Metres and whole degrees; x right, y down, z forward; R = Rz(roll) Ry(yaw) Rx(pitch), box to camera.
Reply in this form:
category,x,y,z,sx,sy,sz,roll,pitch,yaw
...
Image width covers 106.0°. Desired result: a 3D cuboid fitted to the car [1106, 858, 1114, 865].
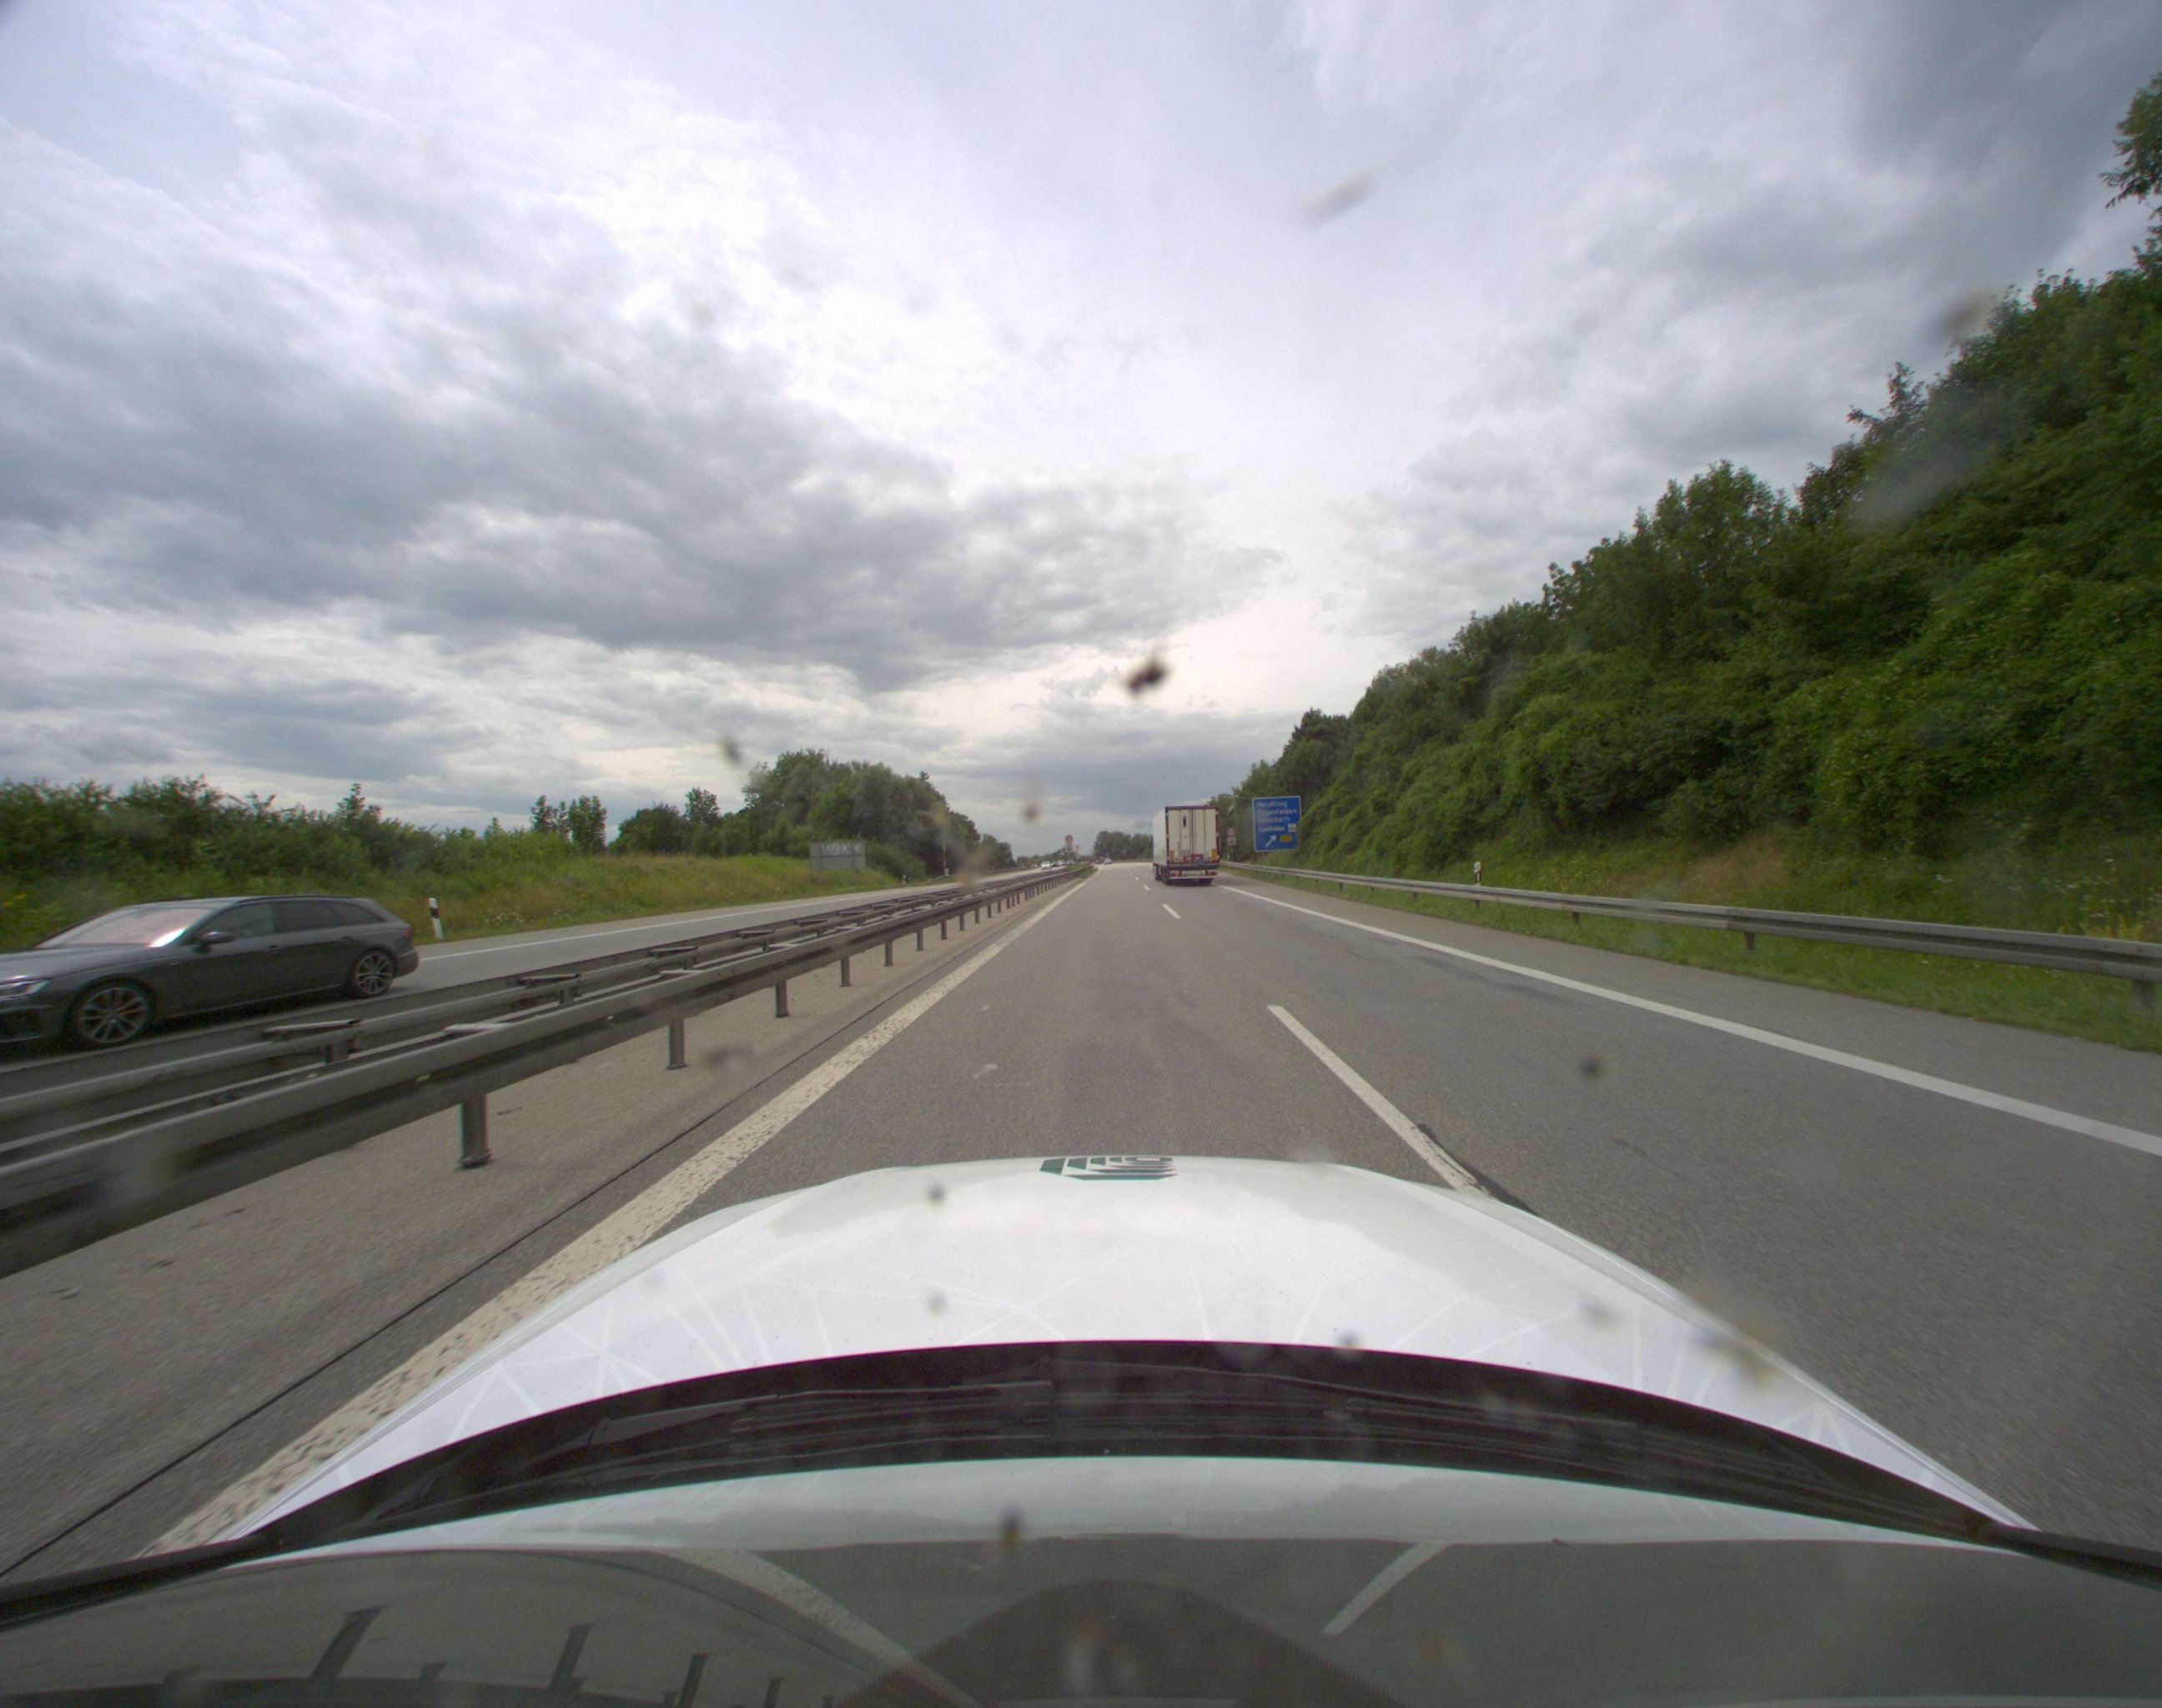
category,x,y,z,sx,sy,sz,roll,pitch,yaw
car,7.898,2.080,224.025,1.896,1.640,4.395,-3,-1,0

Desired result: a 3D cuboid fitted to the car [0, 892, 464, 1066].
category,x,y,z,sx,sy,sz,roll,pitch,yaw
car,-10.169,1.243,9.764,1.699,1.352,4.940,-1,0,1

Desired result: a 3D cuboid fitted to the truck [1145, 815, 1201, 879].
category,x,y,z,sx,sy,sz,roll,pitch,yaw
truck,5.990,-0.420,54.119,3.050,3.892,6.003,-3,0,2

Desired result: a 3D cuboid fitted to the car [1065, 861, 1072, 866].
category,x,y,z,sx,sy,sz,roll,pitch,yaw
car,-3.939,3.013,256.969,1.839,1.612,4.947,-1,-1,1

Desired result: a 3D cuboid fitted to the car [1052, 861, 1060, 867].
category,x,y,z,sx,sy,sz,roll,pitch,yaw
car,-6.328,2.529,207.833,1.722,1.559,4.334,-4,0,2

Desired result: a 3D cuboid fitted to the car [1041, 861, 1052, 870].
category,x,y,z,sx,sy,sz,roll,pitch,yaw
car,-6.134,2.029,145.899,1.643,1.492,4.285,-3,0,2

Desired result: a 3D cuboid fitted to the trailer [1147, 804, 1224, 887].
category,x,y,z,sx,sy,sz,roll,pitch,yaw
trailer,5.662,-0.386,46.603,3.050,3.890,13.797,-2,0,2

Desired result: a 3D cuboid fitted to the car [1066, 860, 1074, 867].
category,x,y,z,sx,sy,sz,roll,pitch,yaw
car,-2.779,2.394,210.132,1.718,1.650,4.225,-1,0,3
